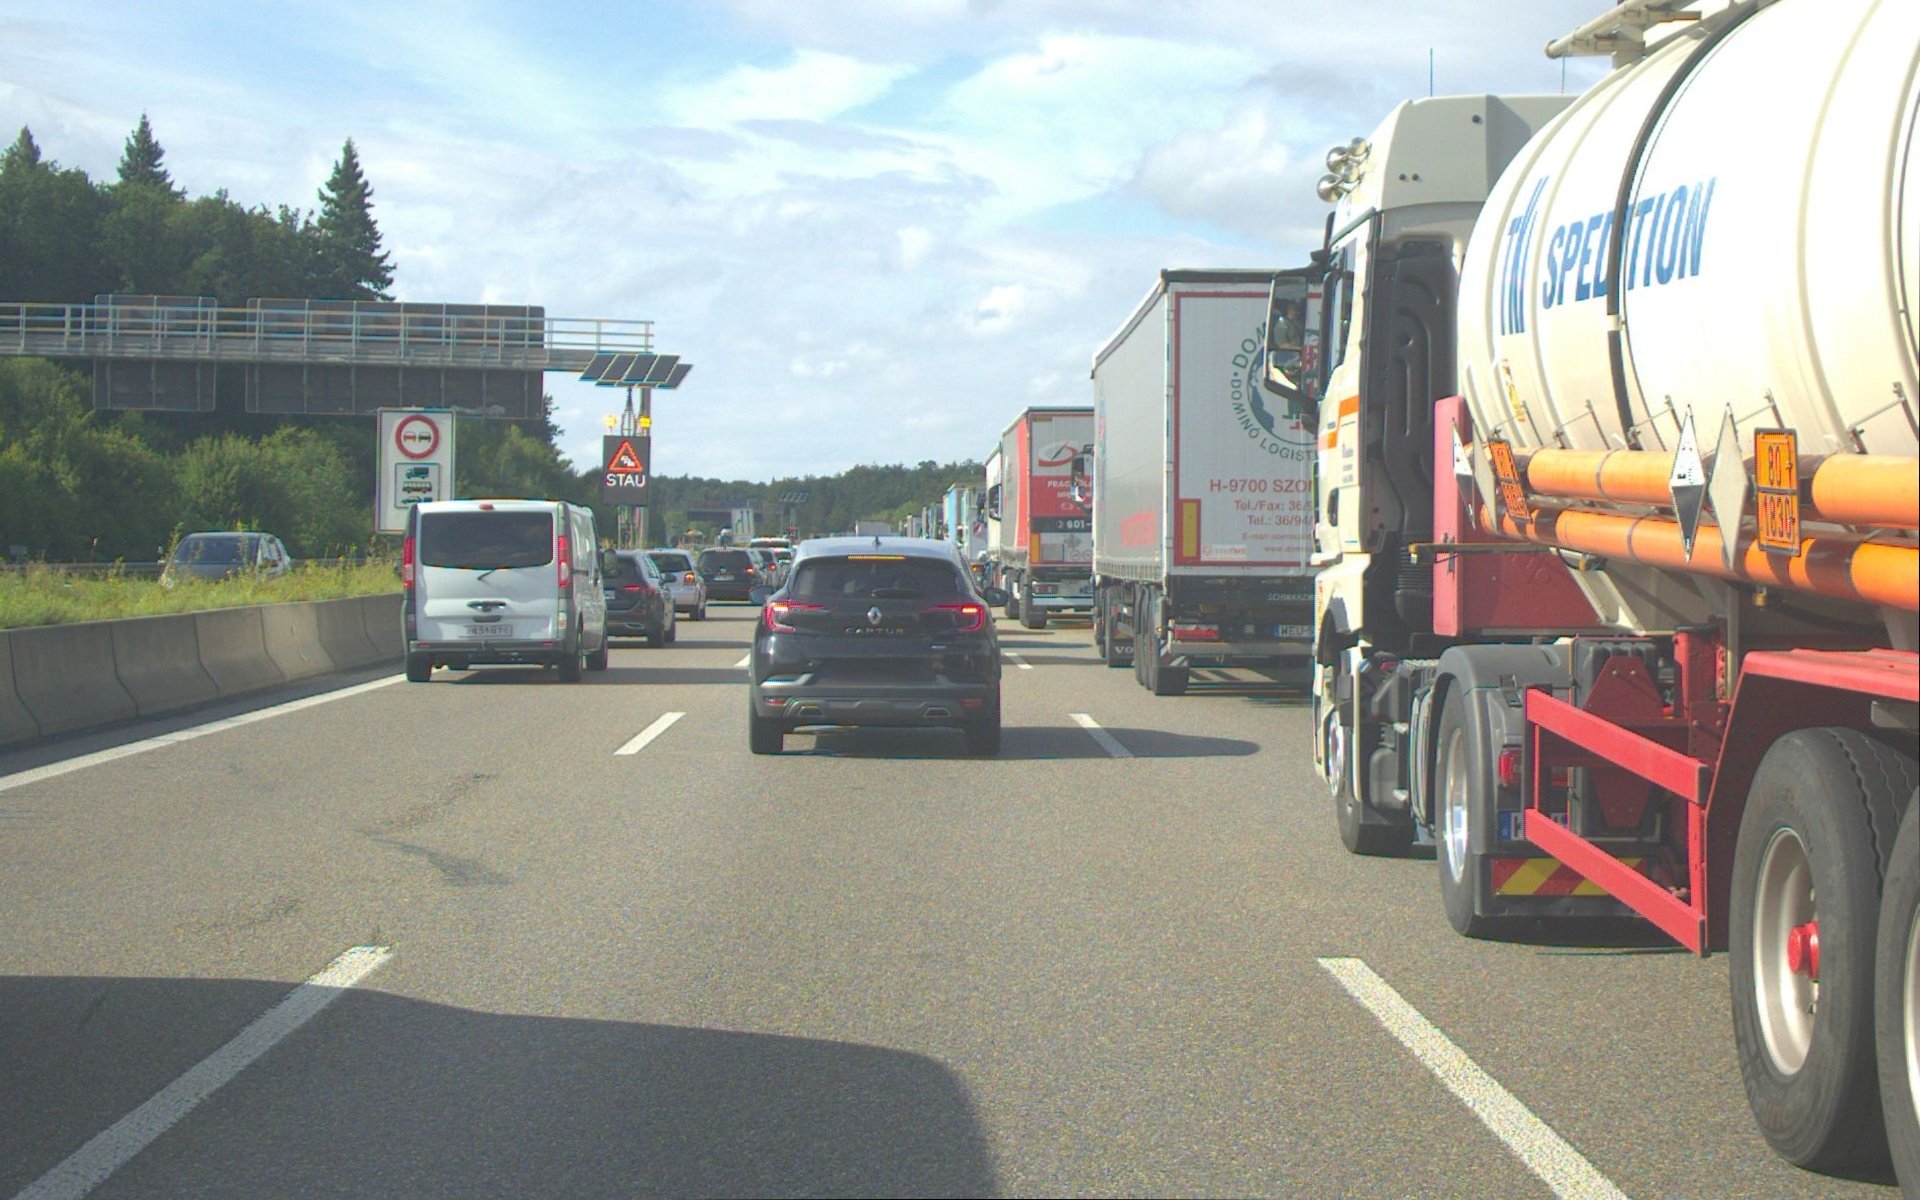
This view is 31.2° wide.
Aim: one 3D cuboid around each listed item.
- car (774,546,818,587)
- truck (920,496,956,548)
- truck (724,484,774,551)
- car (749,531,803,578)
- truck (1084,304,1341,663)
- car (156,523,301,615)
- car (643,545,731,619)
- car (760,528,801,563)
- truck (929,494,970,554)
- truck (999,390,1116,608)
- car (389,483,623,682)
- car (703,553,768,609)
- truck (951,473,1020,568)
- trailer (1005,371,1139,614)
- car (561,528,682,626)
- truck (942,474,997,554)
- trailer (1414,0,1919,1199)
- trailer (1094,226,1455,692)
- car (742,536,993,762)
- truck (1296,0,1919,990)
[{"bbox_3d":[-5.644,-1.149,118.369,1.361,1.296,3.085,4,1,-1],"label":"car"},{"bbox_3d":[-1.345,-4.751,210.240,1.993,3.042,4.982,4,1,0],"label":"truck"},{"bbox_3d":[-12.038,-4.698,196.308,2.344,3.582,6.306,4,1,-1],"label":"truck"},{"bbox_3d":[-5.497,-1.358,103.033,1.434,1.305,3.534,4,1,-1],"label":"car"},{"bbox_3d":[3.099,-1.408,43.815,2.786,4.232,6.459,0,1,0],"label":"truck"},{"bbox_3d":[-13.155,-0.580,62.027,1.828,1.599,3.809,0,1,0],"label":"car"},{"bbox_3d":[-5.585,-0.377,70.588,1.500,1.391,3.476,4,1,-1],"label":"car"},{"bbox_3d":[-6.456,-1.946,123.927,1.360,1.234,3.085,1,1,-1],"label":"car"},{"bbox_3d":[-0.588,-4.025,184.002,1.993,3.042,4.982,4,1,0],"label":"truck"},{"bbox_3d":[1.964,-2.027,71.085,2.134,4.267,6.339,1,1,0],"label":"truck"},{"bbox_3d":[-5.028,-0.211,38.766,1.933,1.972,5.099,4,1,-1],"label":"car"},{"bbox_3d":[-5.680,-0.492,87.173,1.434,1.305,3.534,4,1,-1],"label":"car"},{"bbox_3d":[0.812,-2.559,112.457,1.993,2.922,4.982,4,1,0],"label":"truck"},{"bbox_3d":[2.022,-1.928,64.661,2.150,4.244,8.440,1,1,0],"label":"trailer"},{"bbox_3d":[-4.991,-0.349,50.980,1.500,1.391,3.476,0,1,-1],"label":"car"},{"bbox_3d":[0.365,-3.424,137.941,1.993,3.042,4.982,4,1,0],"label":"truck"},{"bbox_3d":[3.170,-0.444,8.528,2.541,3.641,10.627,0,1,-1],"label":"trailer"},{"bbox_3d":[3.073,-1.340,36.742,2.802,4.229,11.057,0,1,0],"label":"trailer"},{"bbox_3d":[-0.625,0.298,25.662,1.697,1.478,4.160,1,2,0],"label":"car"},{"bbox_3d":[3.106,-0.528,14.791,2.533,3.571,6.730,0,1,-1],"label":"truck"}]
